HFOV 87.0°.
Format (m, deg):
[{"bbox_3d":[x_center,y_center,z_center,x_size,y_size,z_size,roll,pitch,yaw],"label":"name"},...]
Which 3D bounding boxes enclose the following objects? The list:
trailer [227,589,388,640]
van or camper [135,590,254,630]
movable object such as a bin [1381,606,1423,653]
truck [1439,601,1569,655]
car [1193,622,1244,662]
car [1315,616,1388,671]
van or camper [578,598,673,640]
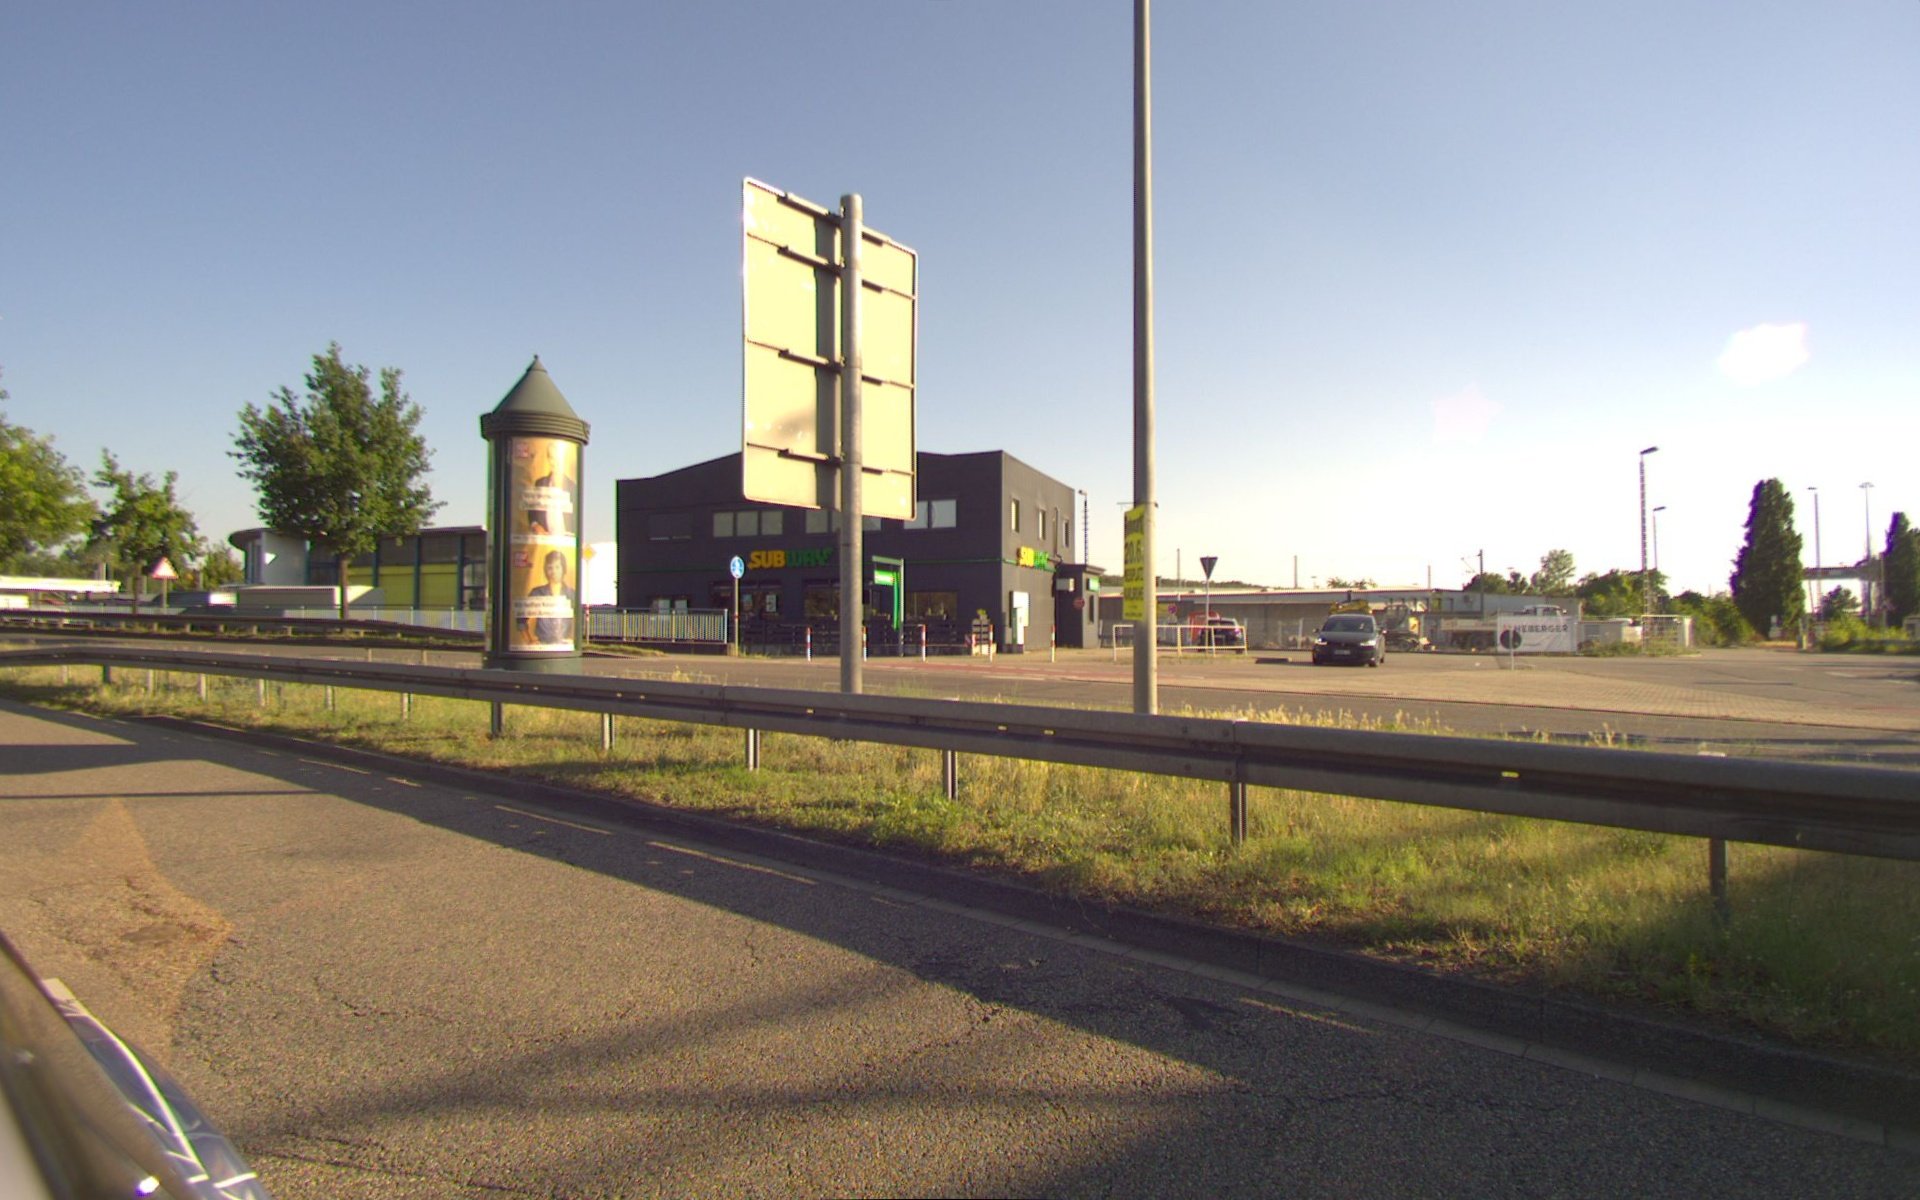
[{"bbox_3d":[-27.724,0.565,42.971,6.560,1.985,2.410,1,0,22],"label":"trailer"},{"bbox_3d":[-34.517,0.443,45.647,4.924,1.698,1.986,1,0,21],"label":"van or camper"},{"bbox_3d":[26.412,1.713,60.439,2.210,2.735,1.723,0,-1,28],"label":"movable object such as a bin"},{"bbox_3d":[33.949,1.725,63.358,6.696,3.168,2.434,1,-1,6],"label":"truck"},{"bbox_3d":[10.899,1.729,42.531,1.829,1.541,3.976,1,-1,18],"label":"car"},{"bbox_3d":[13.124,1.377,33.760,1.783,1.676,4.475,0,-1,28],"label":"car"},{"bbox_3d":[-16.950,0.964,51.333,4.158,1.940,2.006,2,-1,-33],"label":"van or camper"}]
